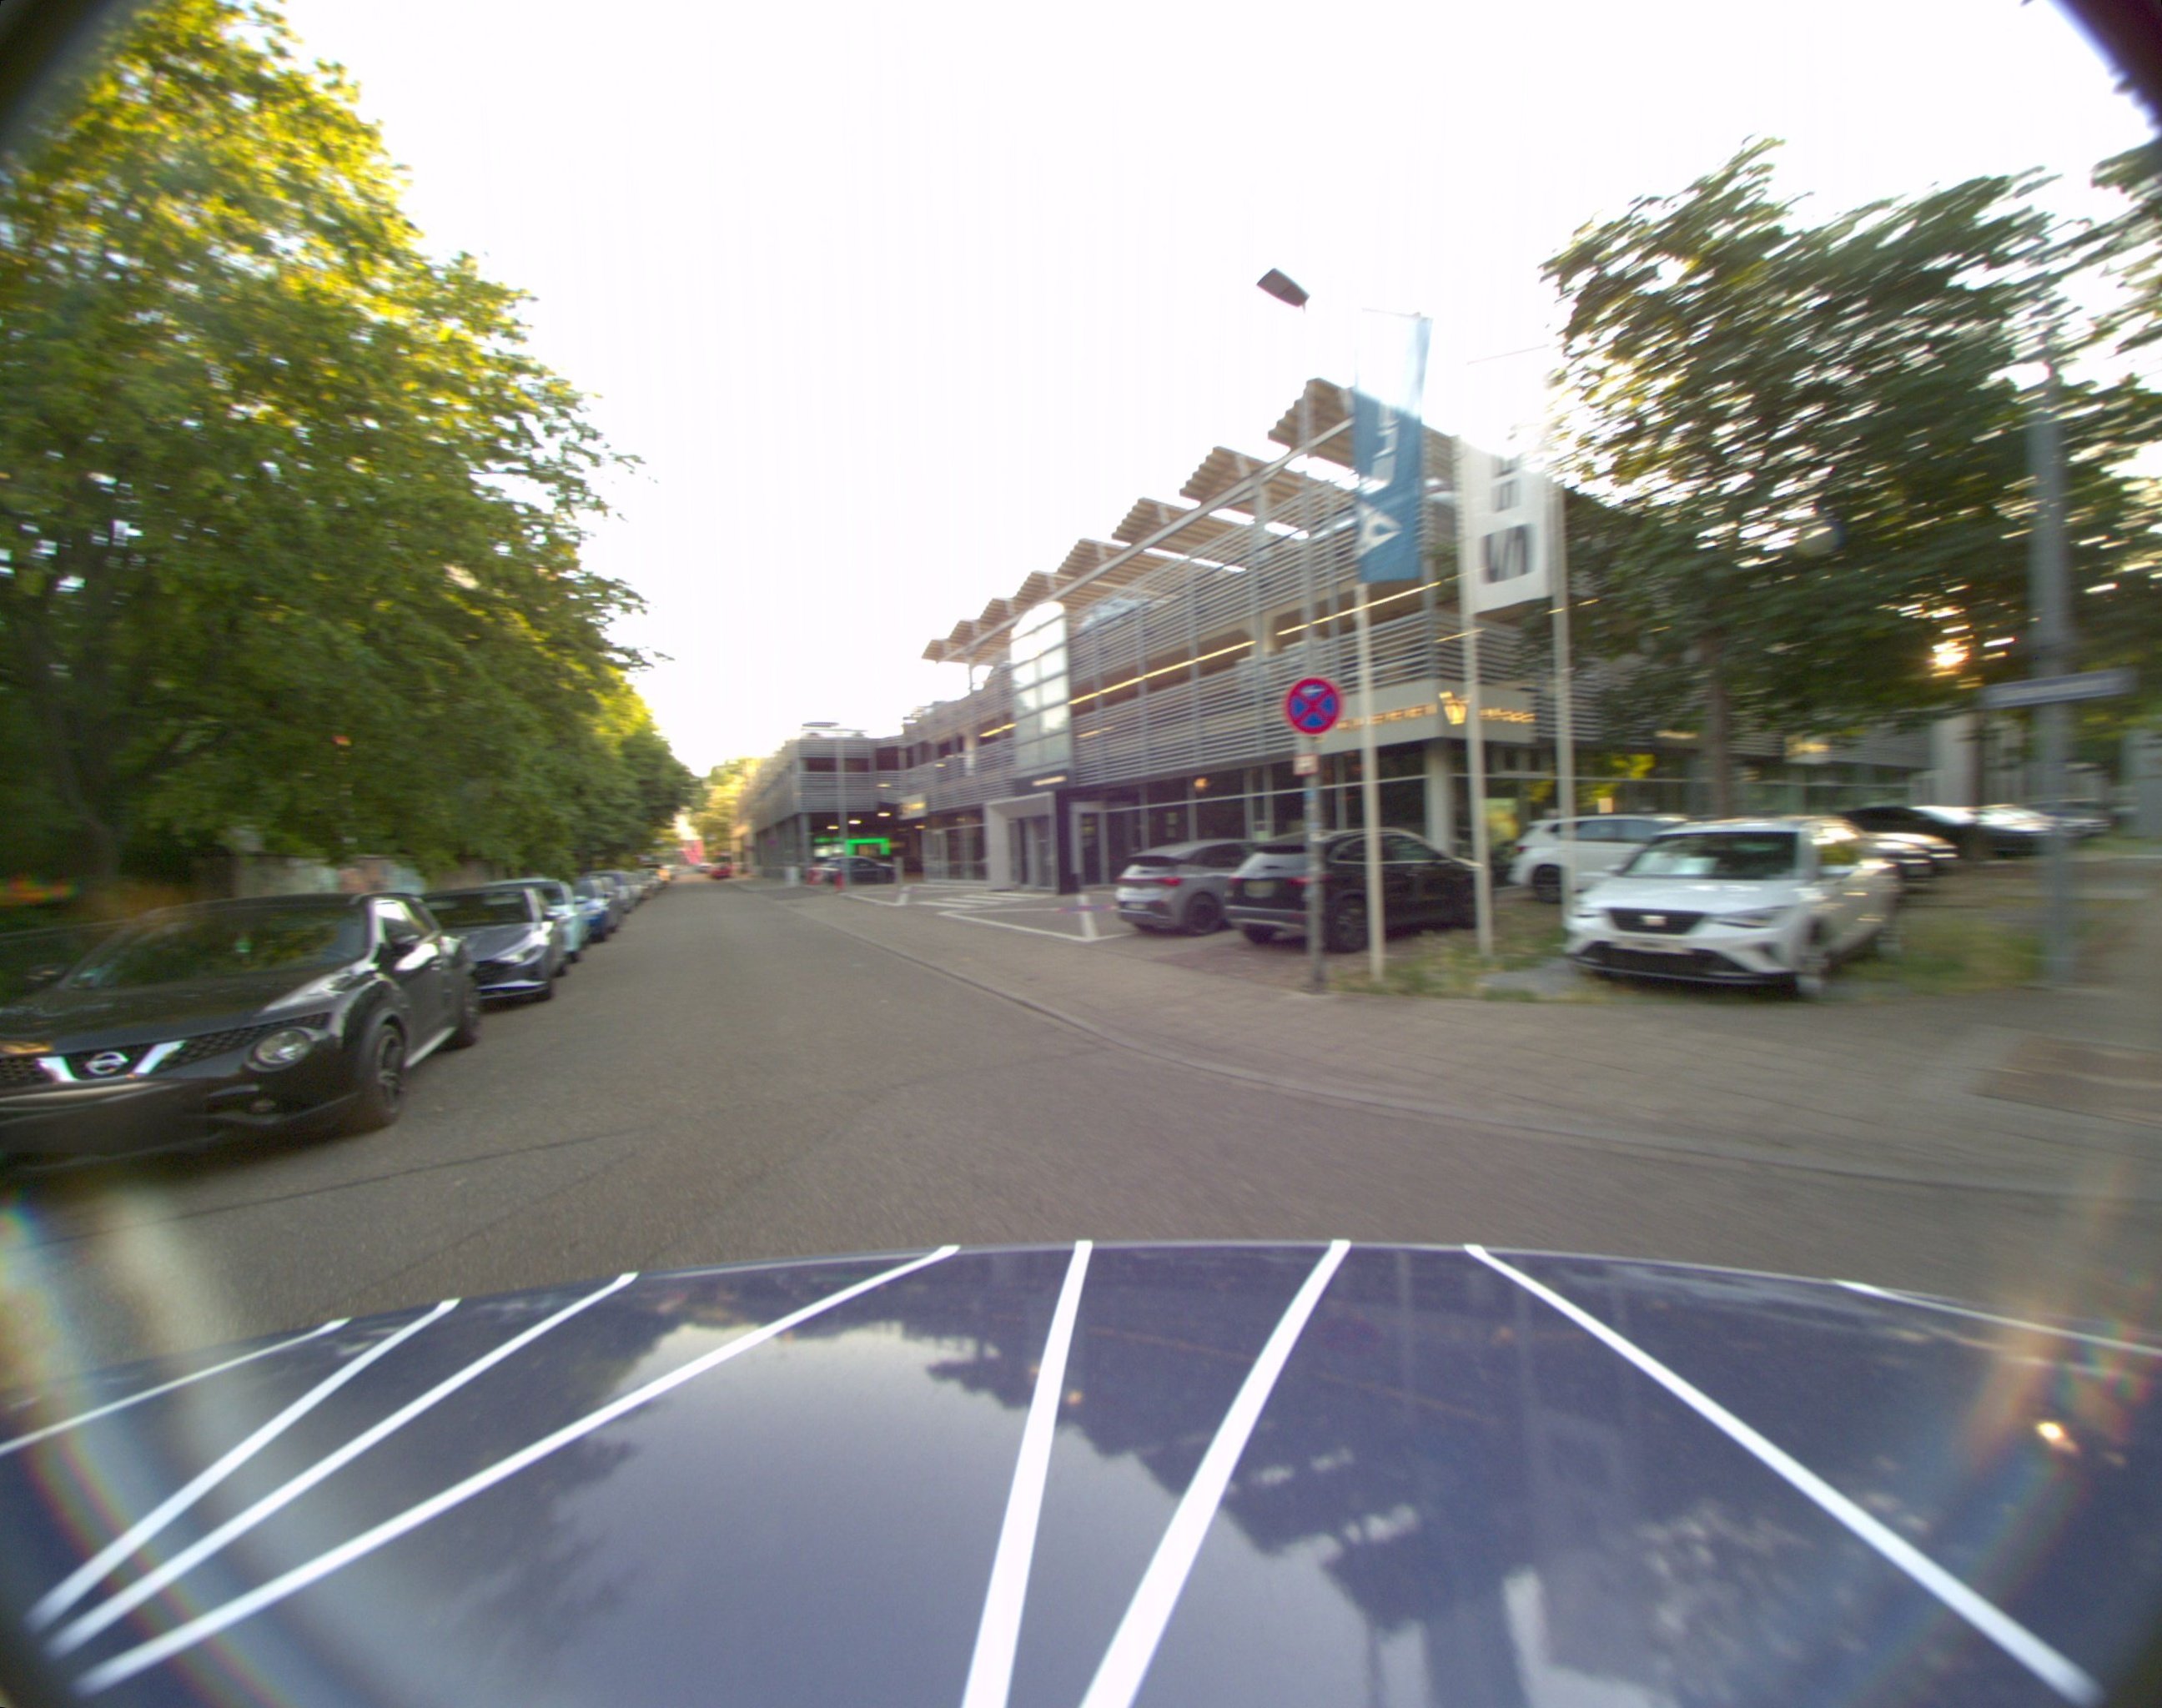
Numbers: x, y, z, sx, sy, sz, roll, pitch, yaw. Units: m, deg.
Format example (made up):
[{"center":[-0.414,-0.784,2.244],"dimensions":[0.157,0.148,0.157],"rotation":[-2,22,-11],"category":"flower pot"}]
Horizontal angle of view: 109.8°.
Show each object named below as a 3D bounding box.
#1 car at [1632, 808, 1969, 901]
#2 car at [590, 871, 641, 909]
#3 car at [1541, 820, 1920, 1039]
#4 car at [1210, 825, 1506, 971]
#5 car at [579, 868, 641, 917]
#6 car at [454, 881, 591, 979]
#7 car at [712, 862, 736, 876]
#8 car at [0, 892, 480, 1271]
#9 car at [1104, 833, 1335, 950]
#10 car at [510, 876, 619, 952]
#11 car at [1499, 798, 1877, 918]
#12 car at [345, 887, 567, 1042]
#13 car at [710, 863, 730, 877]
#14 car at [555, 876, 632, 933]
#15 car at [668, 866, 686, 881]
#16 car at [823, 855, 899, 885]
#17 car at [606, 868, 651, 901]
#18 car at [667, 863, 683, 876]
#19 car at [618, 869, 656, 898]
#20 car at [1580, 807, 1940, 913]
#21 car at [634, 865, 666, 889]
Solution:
[{"center":[14.146,0.028,15.262],"dimensions":[1.875,1.563,4.581],"rotation":[-3,0,-33],"category":"car"},{"center":[-20.059,1.514,32.857],"dimensions":[1.635,1.446,3.757],"rotation":[-2,1,-28],"category":"car"},{"center":[6.417,0.525,7.409],"dimensions":[3.908,1.563,1.764],"rotation":[-3,1,-33],"category":"car"},{"center":[4.076,0.512,10.998],"dimensions":[4.132,1.596,1.714],"rotation":[-4,1,-30],"category":"car"},{"center":[-17.559,1.373,28.463],"dimensions":[1.635,1.558,4.120],"rotation":[-2,1,-28],"category":"car"},{"center":[-10.084,1.265,13.967],"dimensions":[1.635,1.426,3.678],"rotation":[-2,0,-31],"category":"car"},{"center":[-36.293,1.512,77.145],"dimensions":[1.880,1.279,3.393],"rotation":[-2,1,-30],"category":"car"},{"center":[-5.768,1.177,5.399],"dimensions":[1.635,1.537,3.934],"rotation":[-4,2,-29],"category":"car"},{"center":[2.483,0.571,13.500],"dimensions":[3.698,1.582,1.703],"rotation":[-5,2,-28],"category":"car"},{"center":[-12.069,1.318,17.980],"dimensions":[1.635,1.426,4.120],"rotation":[-2,1,-28],"category":"car"},{"center":[9.888,0.066,12.811],"dimensions":[1.875,1.634,4.581],"rotation":[-3,0,-33],"category":"car"},{"center":[-7.864,1.234,9.921],"dimensions":[1.635,1.426,3.775],"rotation":[-2,1,-31],"category":"car"},{"center":[-38.517,1.700,81.031],"dimensions":[1.635,1.446,3.757],"rotation":[-2,1,-30],"category":"car"},{"center":[-14.669,1.447,23.041],"dimensions":[1.635,1.426,4.120],"rotation":[-2,1,-29],"category":"car"},{"center":[-42.507,2.007,79.905],"dimensions":[1.635,1.446,3.757],"rotation":[-2,1,-28],"category":"car"},{"center":[-12.621,0.879,43.655],"dimensions":[3.932,1.558,1.629],"rotation":[-2,1,-28],"category":"car"},{"center":[-22.450,1.462,37.802],"dimensions":[1.635,1.446,3.758],"rotation":[-2,1,-27],"category":"car"},{"center":[-47.336,1.783,88.592],"dimensions":[1.635,1.446,3.757],"rotation":[-2,1,-28],"category":"car"},{"center":[-24.566,1.595,42.137],"dimensions":[1.635,1.446,3.757],"rotation":[-2,1,-28],"category":"car"},{"center":[12.152,0.113,13.970],"dimensions":[1.875,1.607,4.581],"rotation":[-3,0,-33],"category":"car"},{"center":[-29.334,1.549,51.836],"dimensions":[1.635,1.446,3.758],"rotation":[-2,1,-26],"category":"car"}]
